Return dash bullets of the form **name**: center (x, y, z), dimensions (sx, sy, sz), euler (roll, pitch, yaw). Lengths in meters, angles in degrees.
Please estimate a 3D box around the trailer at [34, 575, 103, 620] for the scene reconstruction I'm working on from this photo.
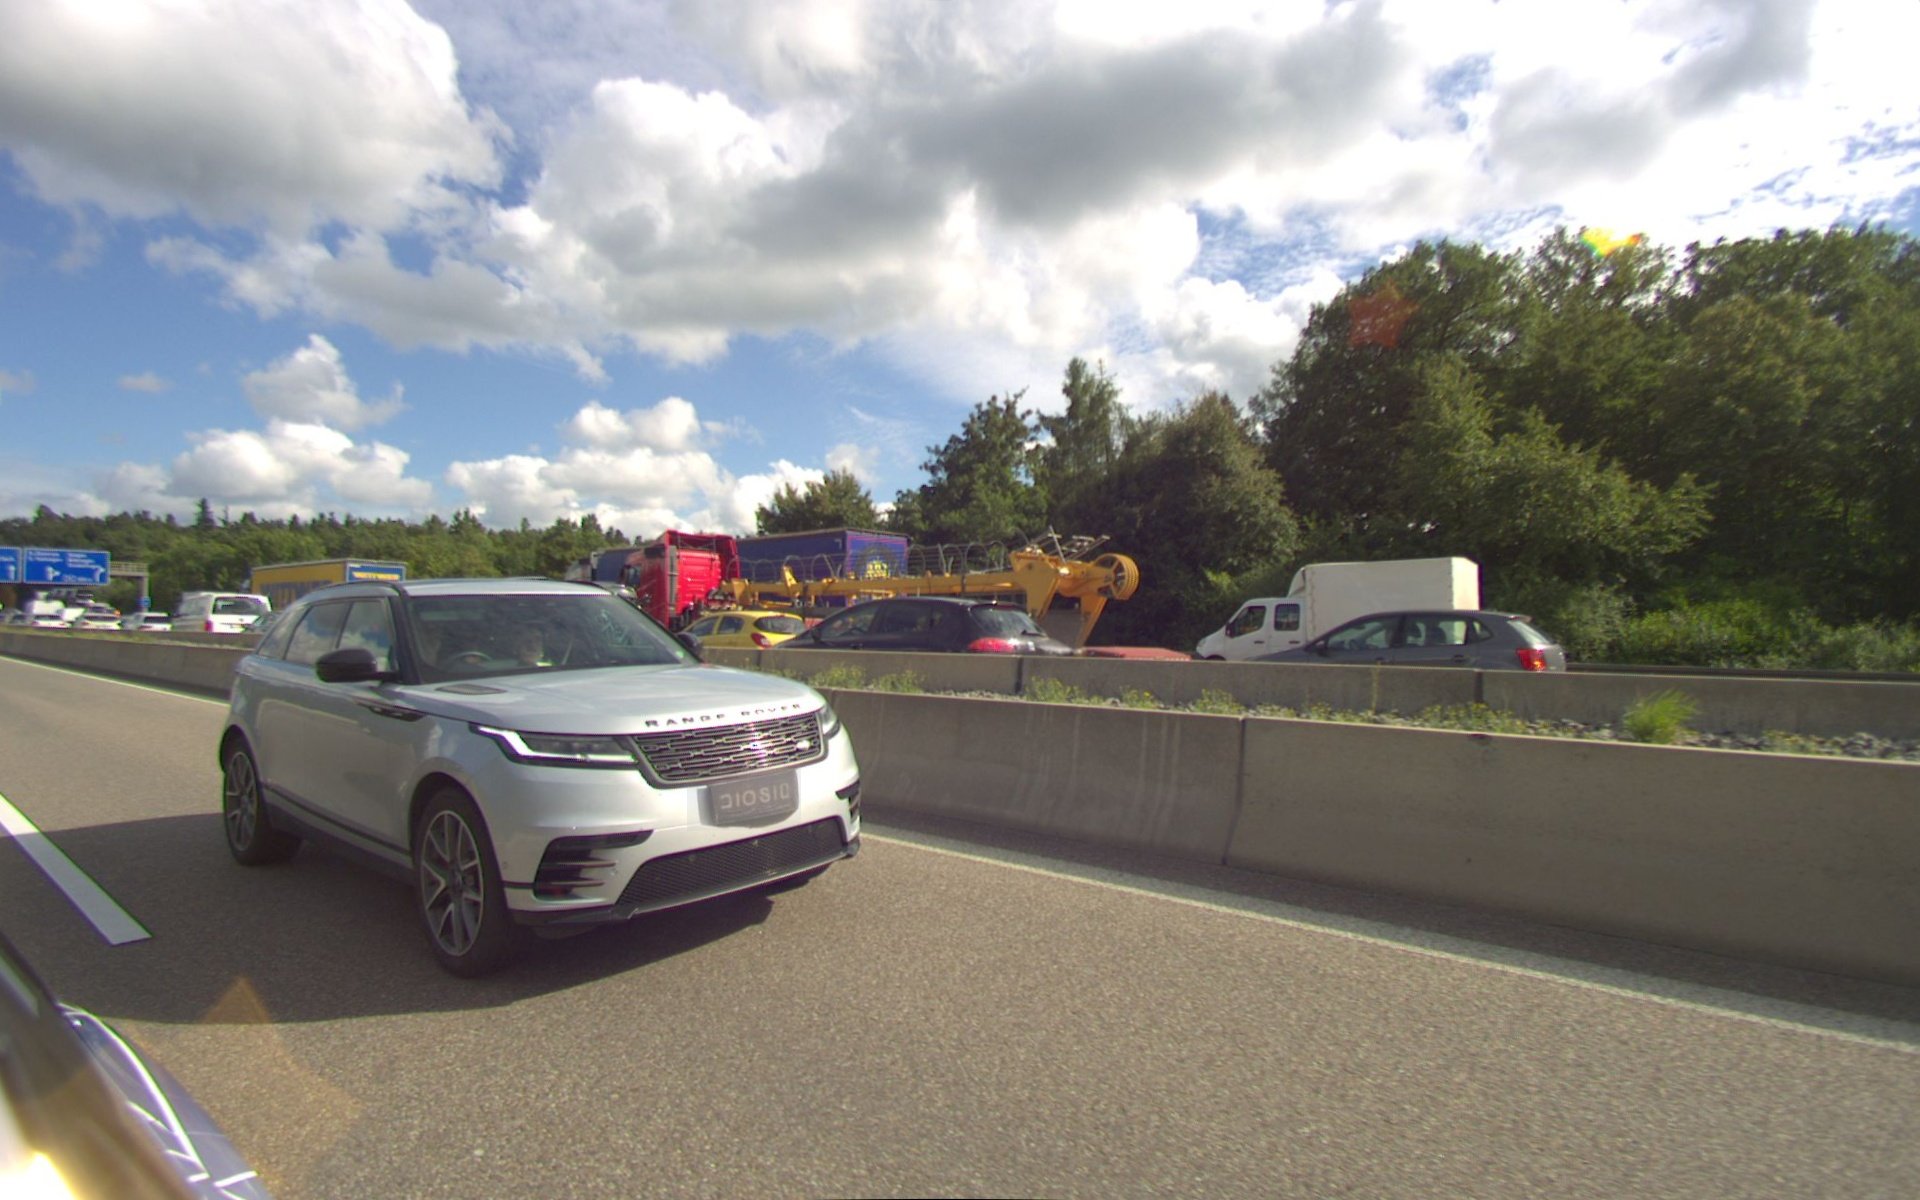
- **trailer**: center (-84.628, -0.336, 95.944), dimensions (15.997, 4.004, 2.801), euler (1, 1, 41)

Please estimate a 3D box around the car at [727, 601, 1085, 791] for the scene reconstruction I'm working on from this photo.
- **car**: center (-0.771, 0.951, 12.019), dimensions (4.293, 1.829, 1.670), euler (1, 1, 40)

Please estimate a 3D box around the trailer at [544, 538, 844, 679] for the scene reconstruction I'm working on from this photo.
- **trailer**: center (-9.883, 0.341, 35.543), dimensions (14.035, 4.150, 2.780), euler (-1, 0, 41)

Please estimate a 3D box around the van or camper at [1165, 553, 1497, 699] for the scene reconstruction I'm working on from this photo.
- **van or camper**: center (8.851, 0.588, 24.748), dimensions (7.190, 3.100, 2.546), euler (-1, -1, 40)

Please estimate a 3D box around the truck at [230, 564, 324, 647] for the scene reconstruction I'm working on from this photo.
- **truck**: center (-36.326, 0.233, 53.765), dimensions (5.613, 4.179, 2.708), euler (1, 1, 40)

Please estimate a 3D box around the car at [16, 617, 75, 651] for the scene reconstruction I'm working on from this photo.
- **car**: center (-52.368, 1.922, 57.911), dimensions (4.293, 1.756, 1.973), euler (-1, 1, 41)

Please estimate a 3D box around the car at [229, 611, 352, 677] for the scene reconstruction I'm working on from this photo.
- **car**: center (-18.179, 1.147, 27.437), dimensions (3.997, 1.615, 1.706), euler (-1, 0, 40)

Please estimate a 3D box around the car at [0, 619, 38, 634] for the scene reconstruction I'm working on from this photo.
- **car**: center (-60.050, 1.684, 64.328), dimensions (4.602, 0.864, 1.618), euler (-1, 1, 41)

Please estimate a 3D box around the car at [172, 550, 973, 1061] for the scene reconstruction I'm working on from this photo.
- **car**: center (-2.495, 0.672, 5.576), dimensions (5.101, 1.619, 1.881), euler (-1, 0, 40)

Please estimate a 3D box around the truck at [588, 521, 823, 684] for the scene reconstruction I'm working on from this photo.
- **truck**: center (-7.149, 0.115, 27.885), dimensions (6.847, 3.968, 2.748), euler (-1, 0, 40)

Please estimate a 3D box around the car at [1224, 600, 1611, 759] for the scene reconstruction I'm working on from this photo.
- **car**: center (5.430, 0.847, 12.291), dimensions (3.997, 1.603, 1.620), euler (-1, 0, 40)

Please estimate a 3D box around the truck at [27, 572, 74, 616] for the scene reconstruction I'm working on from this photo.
- **truck**: center (-91.760, -0.564, 102.117), dimensions (5.710, 4.266, 2.823), euler (-1, 0, 41)

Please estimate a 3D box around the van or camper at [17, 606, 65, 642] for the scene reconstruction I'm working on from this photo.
- **van or camper**: center (-75.658, 1.904, 83.295), dimensions (6.631, 2.731, 2.365), euler (1, 1, 43)

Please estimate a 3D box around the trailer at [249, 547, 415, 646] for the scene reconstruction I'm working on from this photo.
- **trailer**: center (-30.589, -0.223, 48.879), dimensions (13.650, 4.266, 2.743), euler (1, 1, 40)

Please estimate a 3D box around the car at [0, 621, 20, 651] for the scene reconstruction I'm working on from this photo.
- **car**: center (-68.330, 2.540, 71.787), dimensions (4.408, 2.029, 1.972), euler (1, 0, 42)

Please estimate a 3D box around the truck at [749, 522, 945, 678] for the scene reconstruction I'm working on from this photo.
- **truck**: center (-3.410, 0.072, 29.939), dimensions (5.448, 4.181, 2.783), euler (-1, -2, 40)

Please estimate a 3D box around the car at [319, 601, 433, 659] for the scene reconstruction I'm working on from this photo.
- **car**: center (-19.635, 0.977, 33.939), dimensions (4.838, 1.780, 1.728), euler (-1, 0, 40)

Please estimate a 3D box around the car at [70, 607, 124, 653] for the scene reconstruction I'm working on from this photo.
- **car**: center (-58.924, 2.031, 69.080), dimensions (5.399, 2.985, 1.973), euler (-1, 1, 41)

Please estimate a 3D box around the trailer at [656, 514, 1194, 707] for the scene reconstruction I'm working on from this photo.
- **trailer**: center (-1.756, 0.312, 23.296), dimensions (14.208, 3.361, 2.700), euler (-2, -1, 40)

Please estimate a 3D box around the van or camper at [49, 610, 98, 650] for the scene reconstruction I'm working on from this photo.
- **van or camper**: center (-65.825, 2.158, 75.145), dimensions (5.749, 2.731, 2.024), euler (1, 1, 42)

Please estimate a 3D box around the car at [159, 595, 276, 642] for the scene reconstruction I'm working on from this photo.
- **car**: center (-24.218, 0.544, 32.922), dimensions (5.485, 1.364, 1.831), euler (1, 1, 40)

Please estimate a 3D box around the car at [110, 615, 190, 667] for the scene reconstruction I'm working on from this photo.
- **car**: center (-31.853, 1.552, 39.776), dimensions (4.293, 1.829, 1.670), euler (1, 1, 40)

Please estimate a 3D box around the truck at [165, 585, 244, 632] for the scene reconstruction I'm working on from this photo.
- **truck**: center (-48.213, 0.570, 64.511), dimensions (7.944, 2.822, 2.304), euler (-1, 1, 41)

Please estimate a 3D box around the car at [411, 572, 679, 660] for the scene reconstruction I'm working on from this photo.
- **car**: center (-7.671, 0.278, 18.283), dimensions (6.228, 1.359, 1.796), euler (-1, 0, 40)

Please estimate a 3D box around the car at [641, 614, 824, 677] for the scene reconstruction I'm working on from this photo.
- **car**: center (-4.727, 0.880, 20.750), dimensions (3.997, 1.135, 1.569), euler (-1, 0, 40)

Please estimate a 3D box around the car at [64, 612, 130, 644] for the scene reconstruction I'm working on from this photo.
- **car**: center (-40.459, 1.309, 47.432), dimensions (3.997, 1.387, 1.739), euler (-1, -1, 40)
